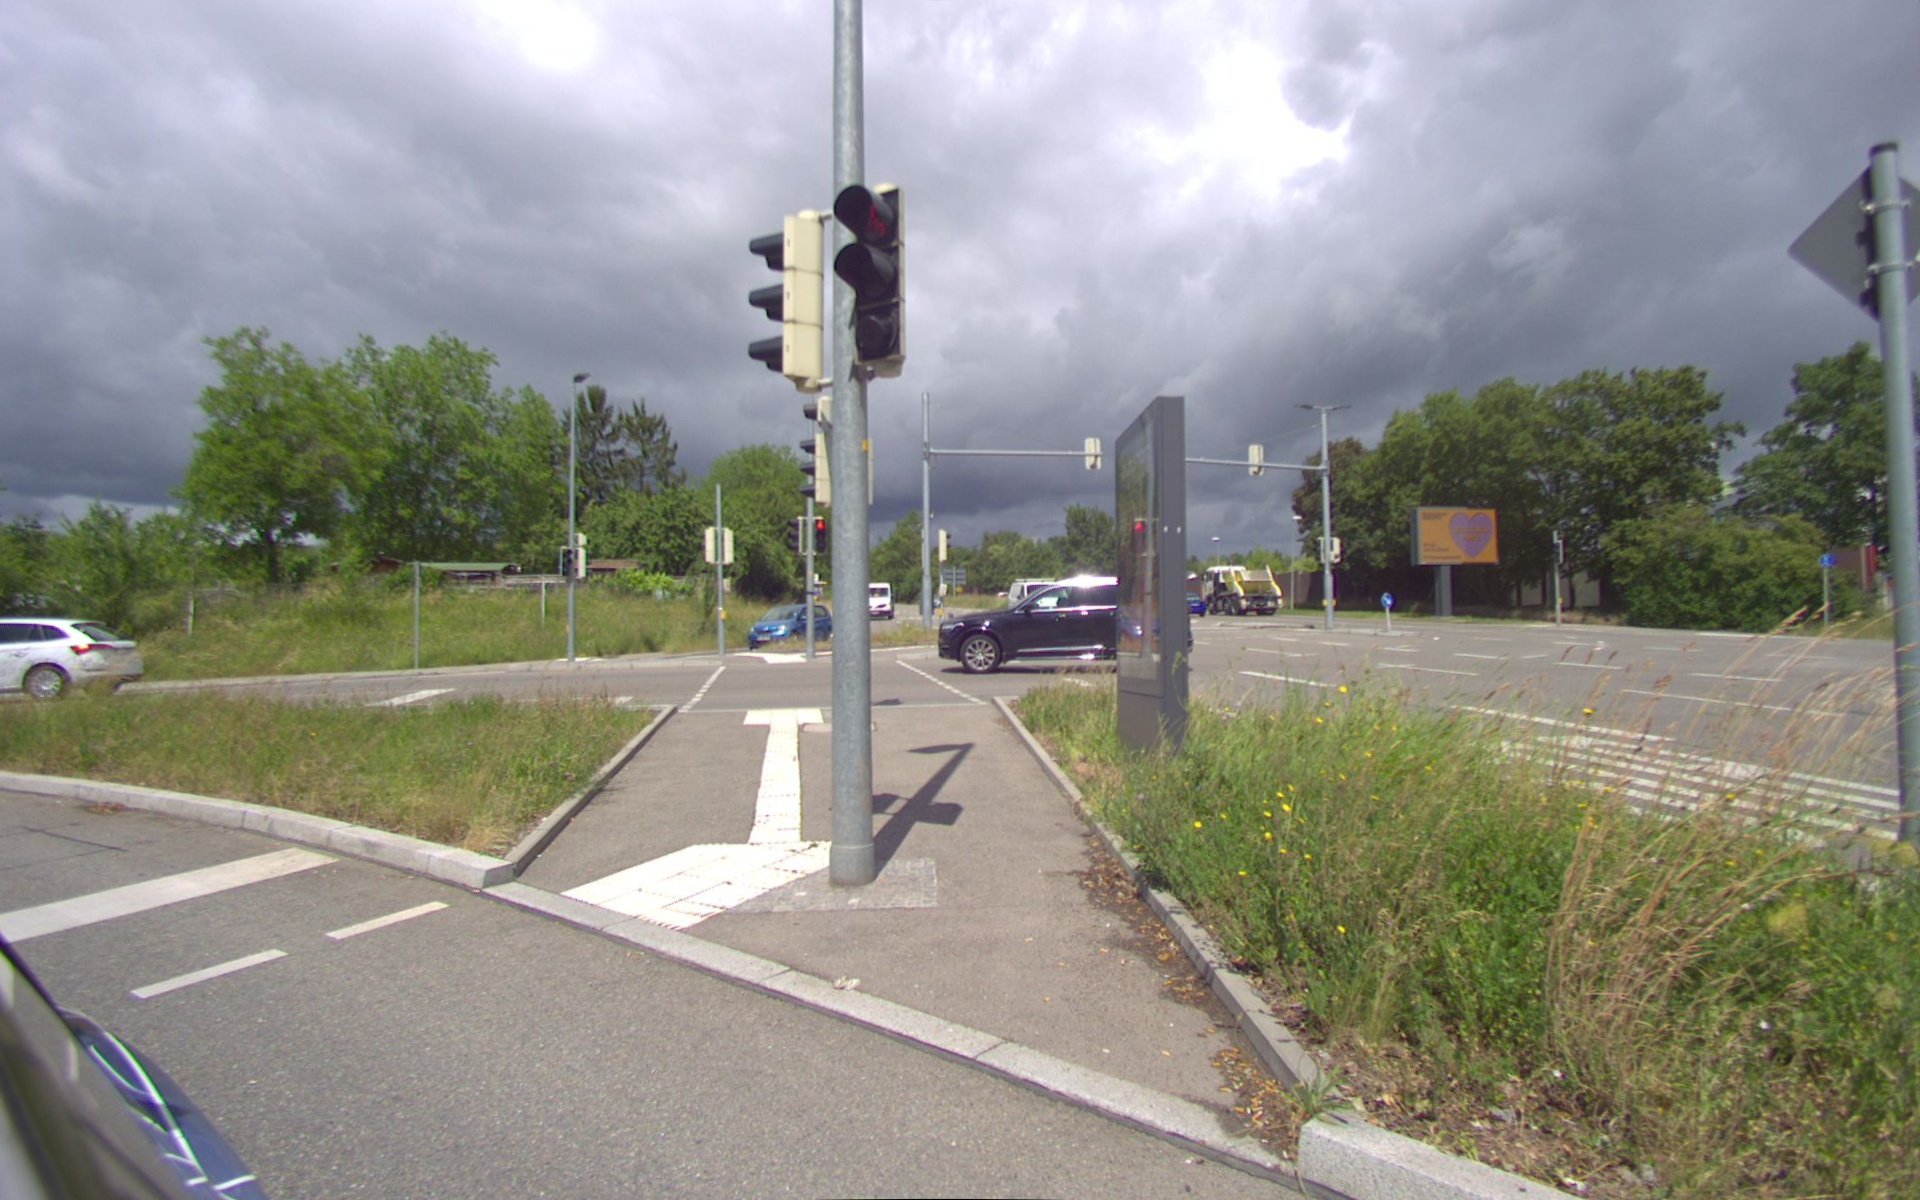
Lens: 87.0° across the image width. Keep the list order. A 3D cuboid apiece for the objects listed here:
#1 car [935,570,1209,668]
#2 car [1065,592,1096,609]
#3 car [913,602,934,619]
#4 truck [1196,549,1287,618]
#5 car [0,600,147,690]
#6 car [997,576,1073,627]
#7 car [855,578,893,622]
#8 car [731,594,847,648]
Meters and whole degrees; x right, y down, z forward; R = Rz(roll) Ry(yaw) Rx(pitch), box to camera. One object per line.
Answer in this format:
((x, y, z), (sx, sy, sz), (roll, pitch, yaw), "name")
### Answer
((2.112, 0.353, 19.328), (4.926, 1.702, 1.905), (-1, 0, 9), "car")
((10.206, 0.039, 86.100), (1.670, 1.411, 4.007), (0, -1, -8), "car")
((-4.009, 1.140, 111.000), (1.969, 1.587, 4.004), (-1, -5, -6), "car")
((17.493, -0.945, 63.453), (2.801, 3.607, 6.978), (0, -5, -8), "truck")
((-17.100, 0.788, 17.627), (4.305, 1.480, 1.626), (-1, 0, -13), "car")
((3.003, 0.059, 41.665), (1.880, 1.952, 4.982), (-1, 0, -11), "car")
((-5.486, 0.042, 65.288), (2.134, 2.670, 5.827), (-1, -1, -2), "car")
((-5.603, 0.647, 33.800), (1.896, 1.649, 4.418), (-1, 0, 20), "car")
